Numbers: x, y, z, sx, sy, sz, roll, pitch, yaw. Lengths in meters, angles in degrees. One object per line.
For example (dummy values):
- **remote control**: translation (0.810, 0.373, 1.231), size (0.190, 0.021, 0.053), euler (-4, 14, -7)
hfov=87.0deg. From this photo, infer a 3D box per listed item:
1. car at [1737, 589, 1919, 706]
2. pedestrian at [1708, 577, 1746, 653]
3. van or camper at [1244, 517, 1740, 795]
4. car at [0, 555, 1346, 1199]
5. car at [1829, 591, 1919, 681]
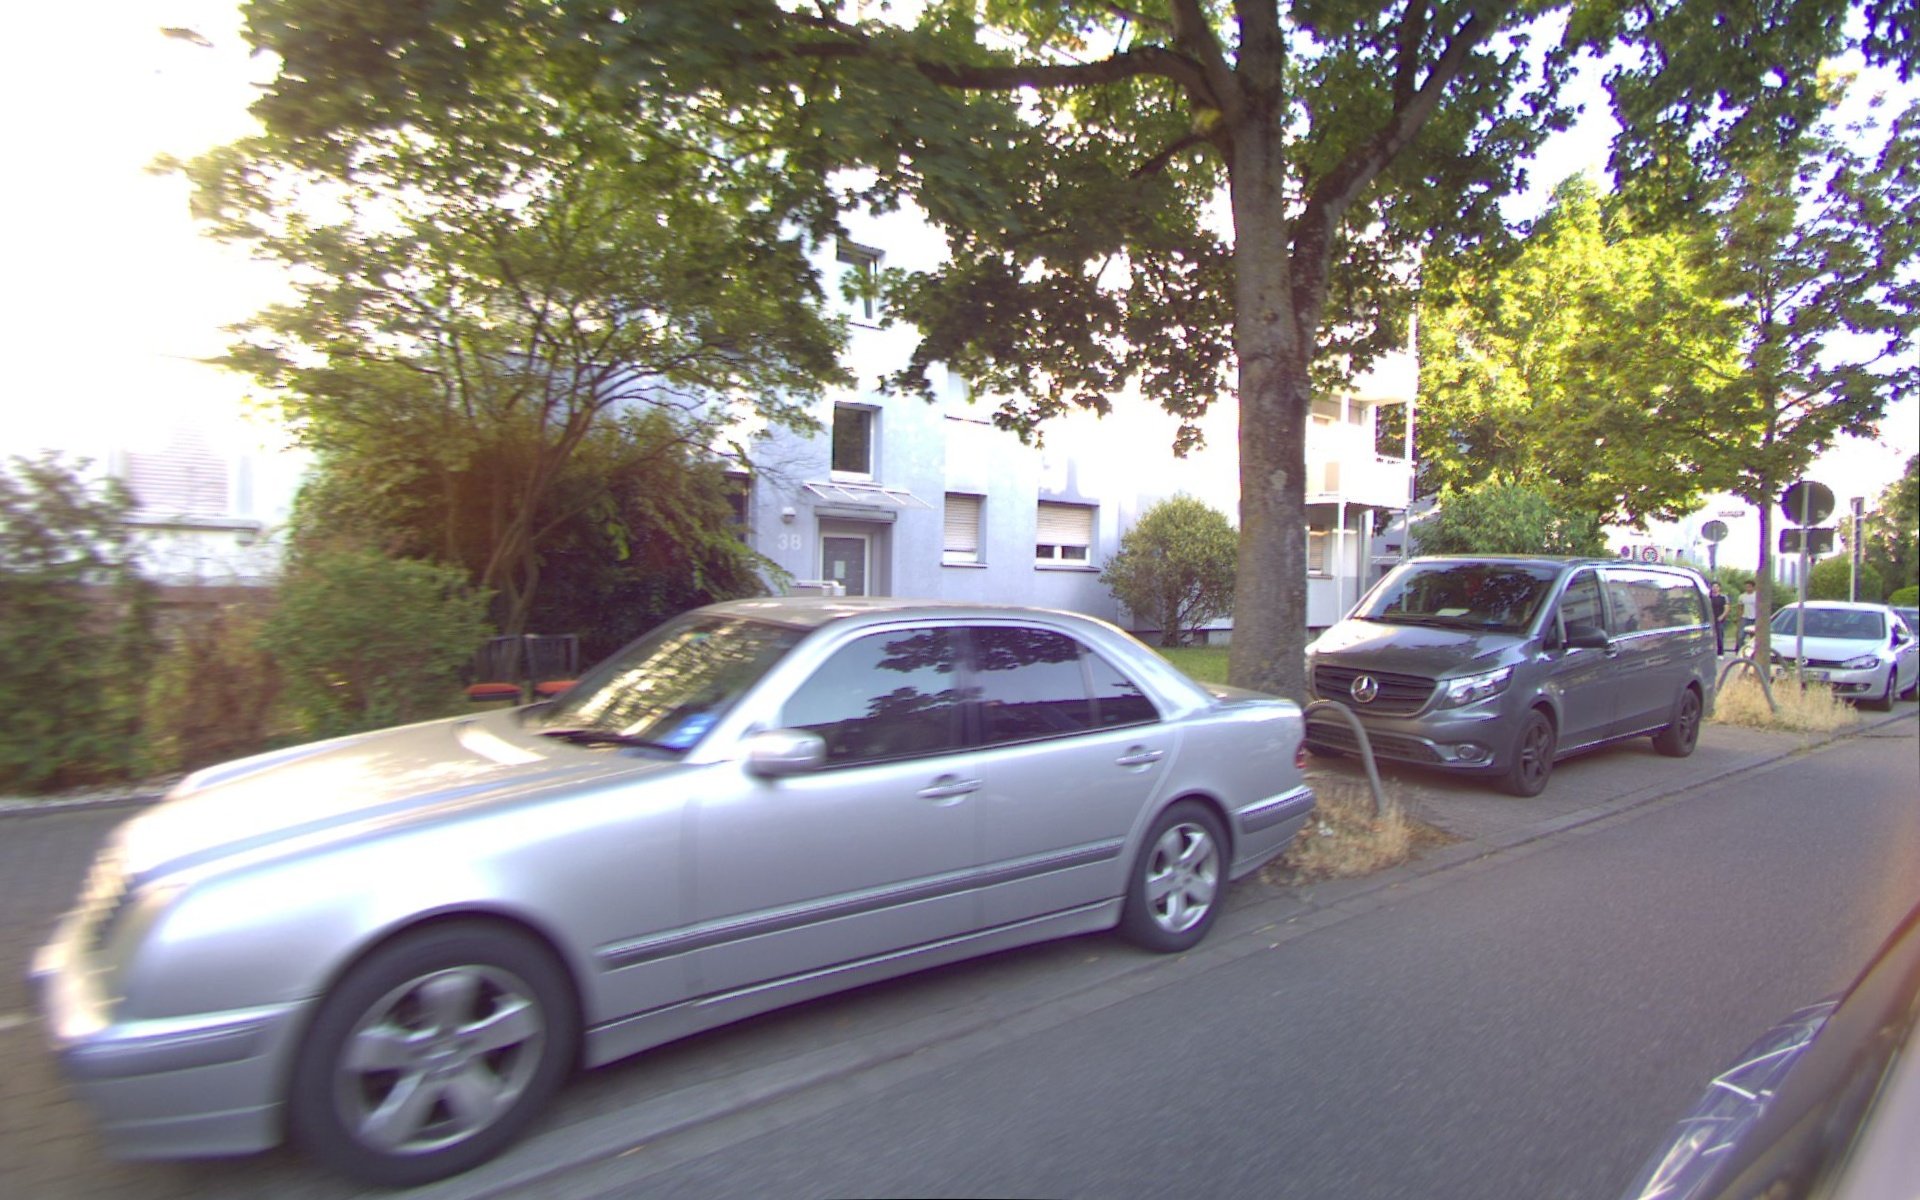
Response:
- **car**: translation (13.371, 0.629, 15.229), size (4.227, 1.461, 1.738), euler (1, 2, -40)
- **pedestrian**: translation (17.974, 0.341, 23.719), size (0.398, 1.749, 0.593), euler (0, 1, -38)
- **van or camper**: translation (5.012, 0.395, 9.165), size (5.162, 1.865, 1.999), euler (1, 1, -38)
- **car**: translation (-0.627, 0.645, 4.051), size (4.740, 1.523, 1.790), euler (0, 1, -37)
- **car**: translation (17.463, 0.631, 18.445), size (4.261, 1.461, 1.738), euler (1, 2, -40)
